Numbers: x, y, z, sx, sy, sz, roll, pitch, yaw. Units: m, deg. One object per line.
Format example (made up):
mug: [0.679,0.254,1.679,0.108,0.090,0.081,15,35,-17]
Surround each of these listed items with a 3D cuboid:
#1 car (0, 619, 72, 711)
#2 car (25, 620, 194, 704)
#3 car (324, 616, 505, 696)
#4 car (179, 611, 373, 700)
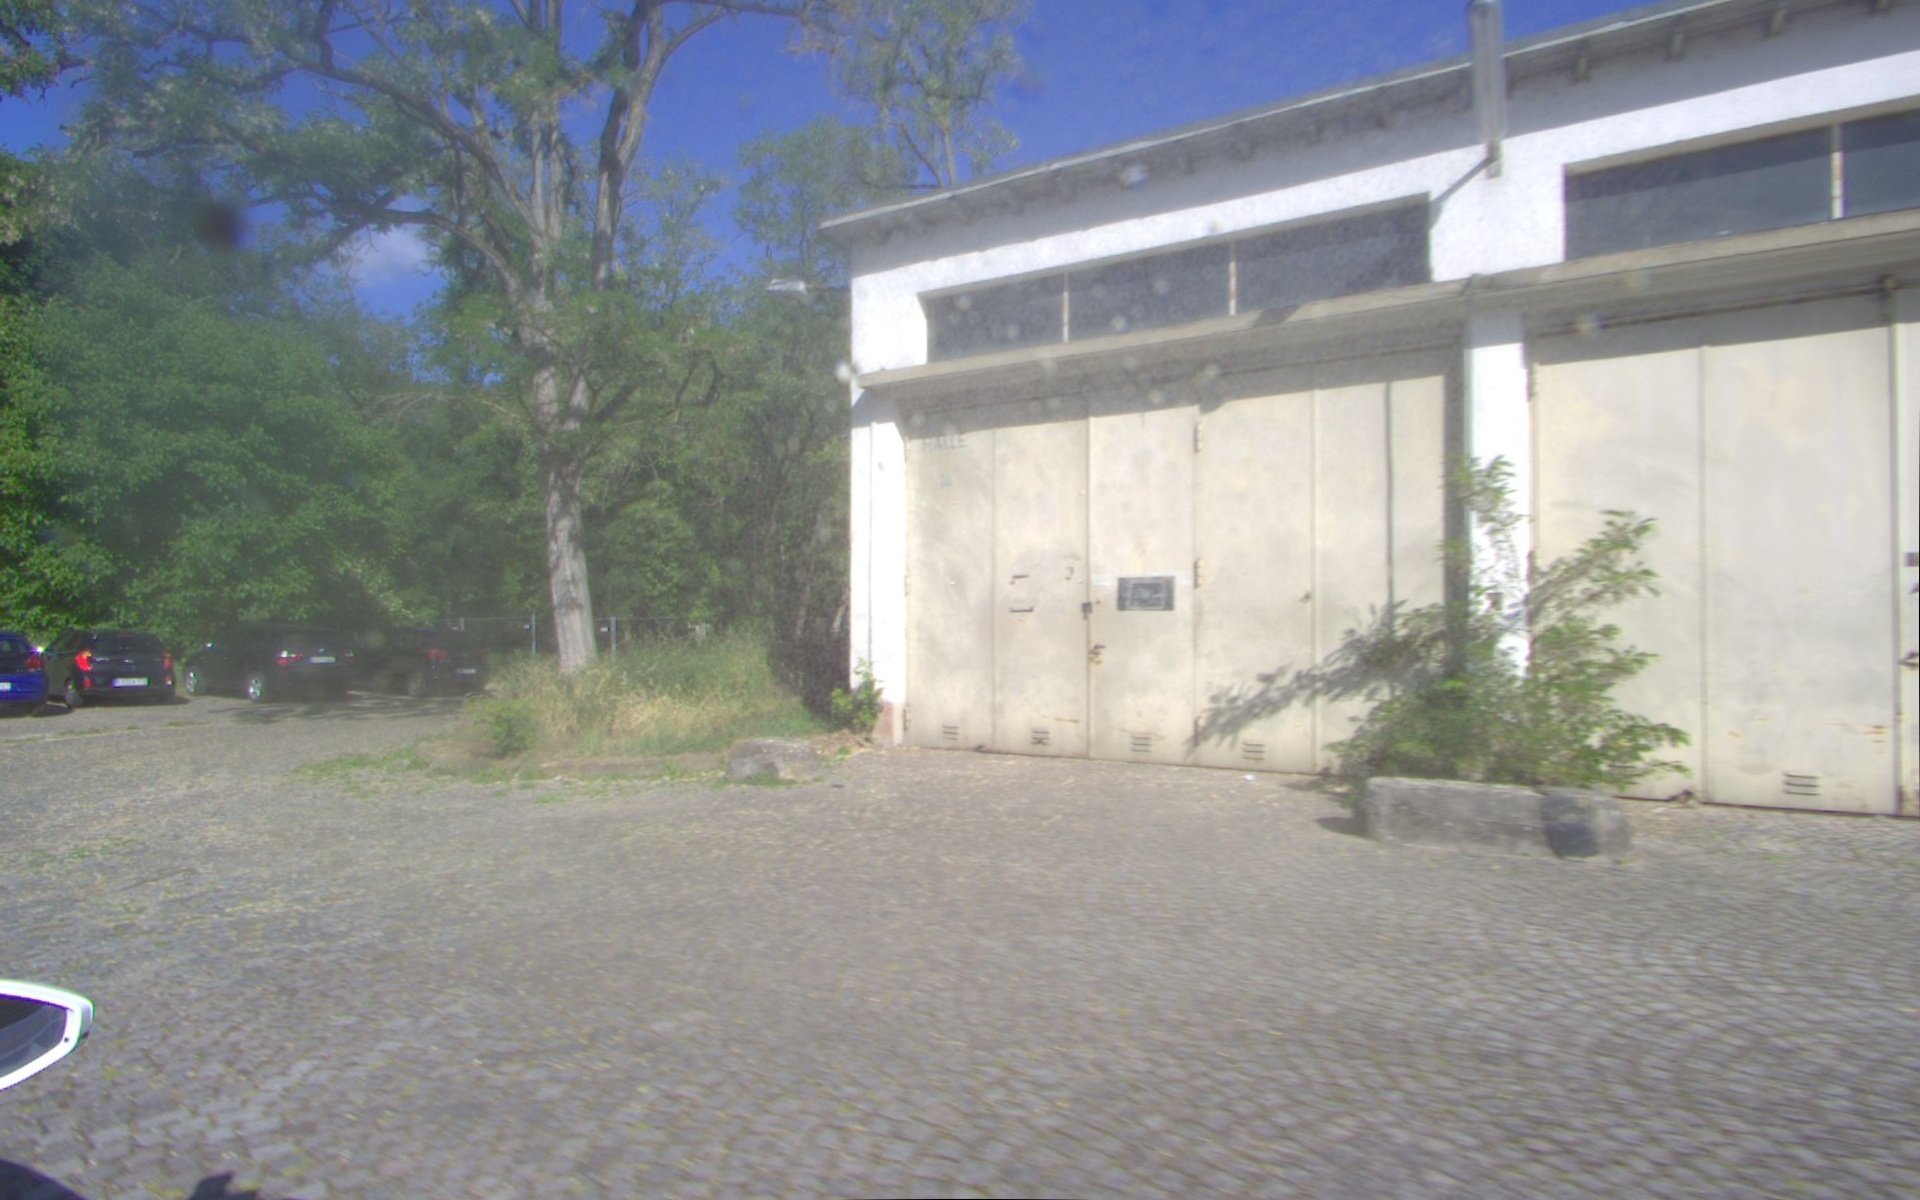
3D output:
car: [-17.345,1.072,17.429,3.734,1.477,1.778,1,-2,32]
car: [-17.157,1.211,20.167,3.675,1.469,1.734,1,-2,36]
car: [-13.634,1.348,25.016,4.203,1.610,1.824,3,0,26]
car: [-15.320,1.199,22.398,4.207,1.652,1.874,2,-1,29]
